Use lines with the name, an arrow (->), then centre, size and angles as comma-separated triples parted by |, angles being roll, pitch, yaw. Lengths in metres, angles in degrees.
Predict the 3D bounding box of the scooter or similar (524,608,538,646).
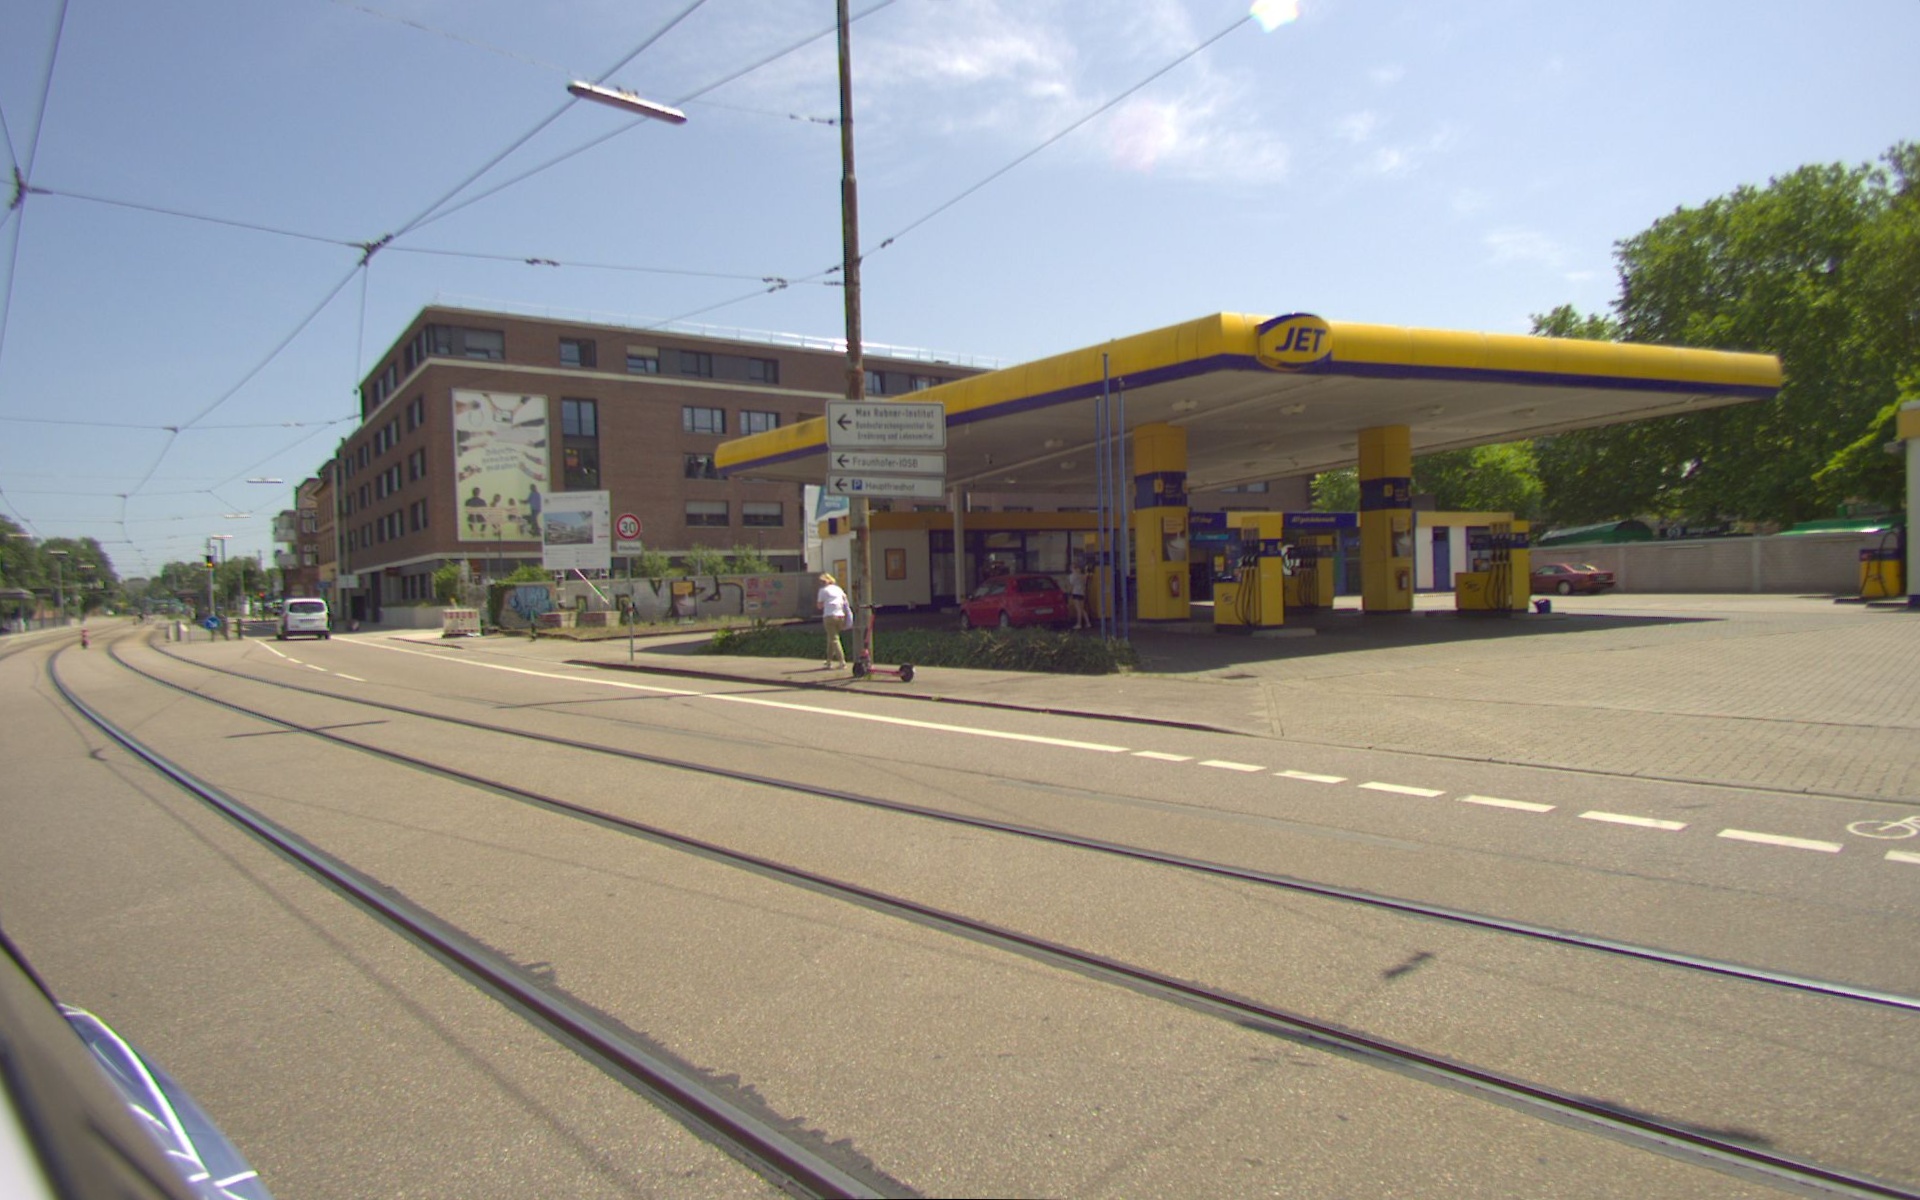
scooter or similar -> -15.091, 0.924, 35.641 | 0.340, 1.274, 1.246 | -3, 2, -21

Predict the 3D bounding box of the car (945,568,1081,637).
car -> 1.267, 0.083, 26.294 | 1.800, 1.516, 4.213 | -4, 1, -23

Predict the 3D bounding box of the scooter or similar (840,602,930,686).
scooter or similar -> -1.165, 0.667, 15.584 | 1.376, 1.209, 0.513 | -2, 2, 42

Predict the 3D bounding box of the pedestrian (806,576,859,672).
pedestrian -> -2.323, 0.424, 18.439 | 0.617, 1.704, 0.724 | -2, 1, -38

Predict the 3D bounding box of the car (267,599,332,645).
car -> -29.525, 0.943, 45.199 | 1.968, 1.812, 4.562 | -4, 3, -38

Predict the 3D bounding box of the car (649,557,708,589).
car -> -14.663, -1.365, 52.556 | 1.708, 1.479, 4.011 | -3, 1, -34

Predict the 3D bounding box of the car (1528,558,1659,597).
car -> 25.144, -0.863, 40.362 | 1.690, 1.420, 4.254 | -2, 1, -20
